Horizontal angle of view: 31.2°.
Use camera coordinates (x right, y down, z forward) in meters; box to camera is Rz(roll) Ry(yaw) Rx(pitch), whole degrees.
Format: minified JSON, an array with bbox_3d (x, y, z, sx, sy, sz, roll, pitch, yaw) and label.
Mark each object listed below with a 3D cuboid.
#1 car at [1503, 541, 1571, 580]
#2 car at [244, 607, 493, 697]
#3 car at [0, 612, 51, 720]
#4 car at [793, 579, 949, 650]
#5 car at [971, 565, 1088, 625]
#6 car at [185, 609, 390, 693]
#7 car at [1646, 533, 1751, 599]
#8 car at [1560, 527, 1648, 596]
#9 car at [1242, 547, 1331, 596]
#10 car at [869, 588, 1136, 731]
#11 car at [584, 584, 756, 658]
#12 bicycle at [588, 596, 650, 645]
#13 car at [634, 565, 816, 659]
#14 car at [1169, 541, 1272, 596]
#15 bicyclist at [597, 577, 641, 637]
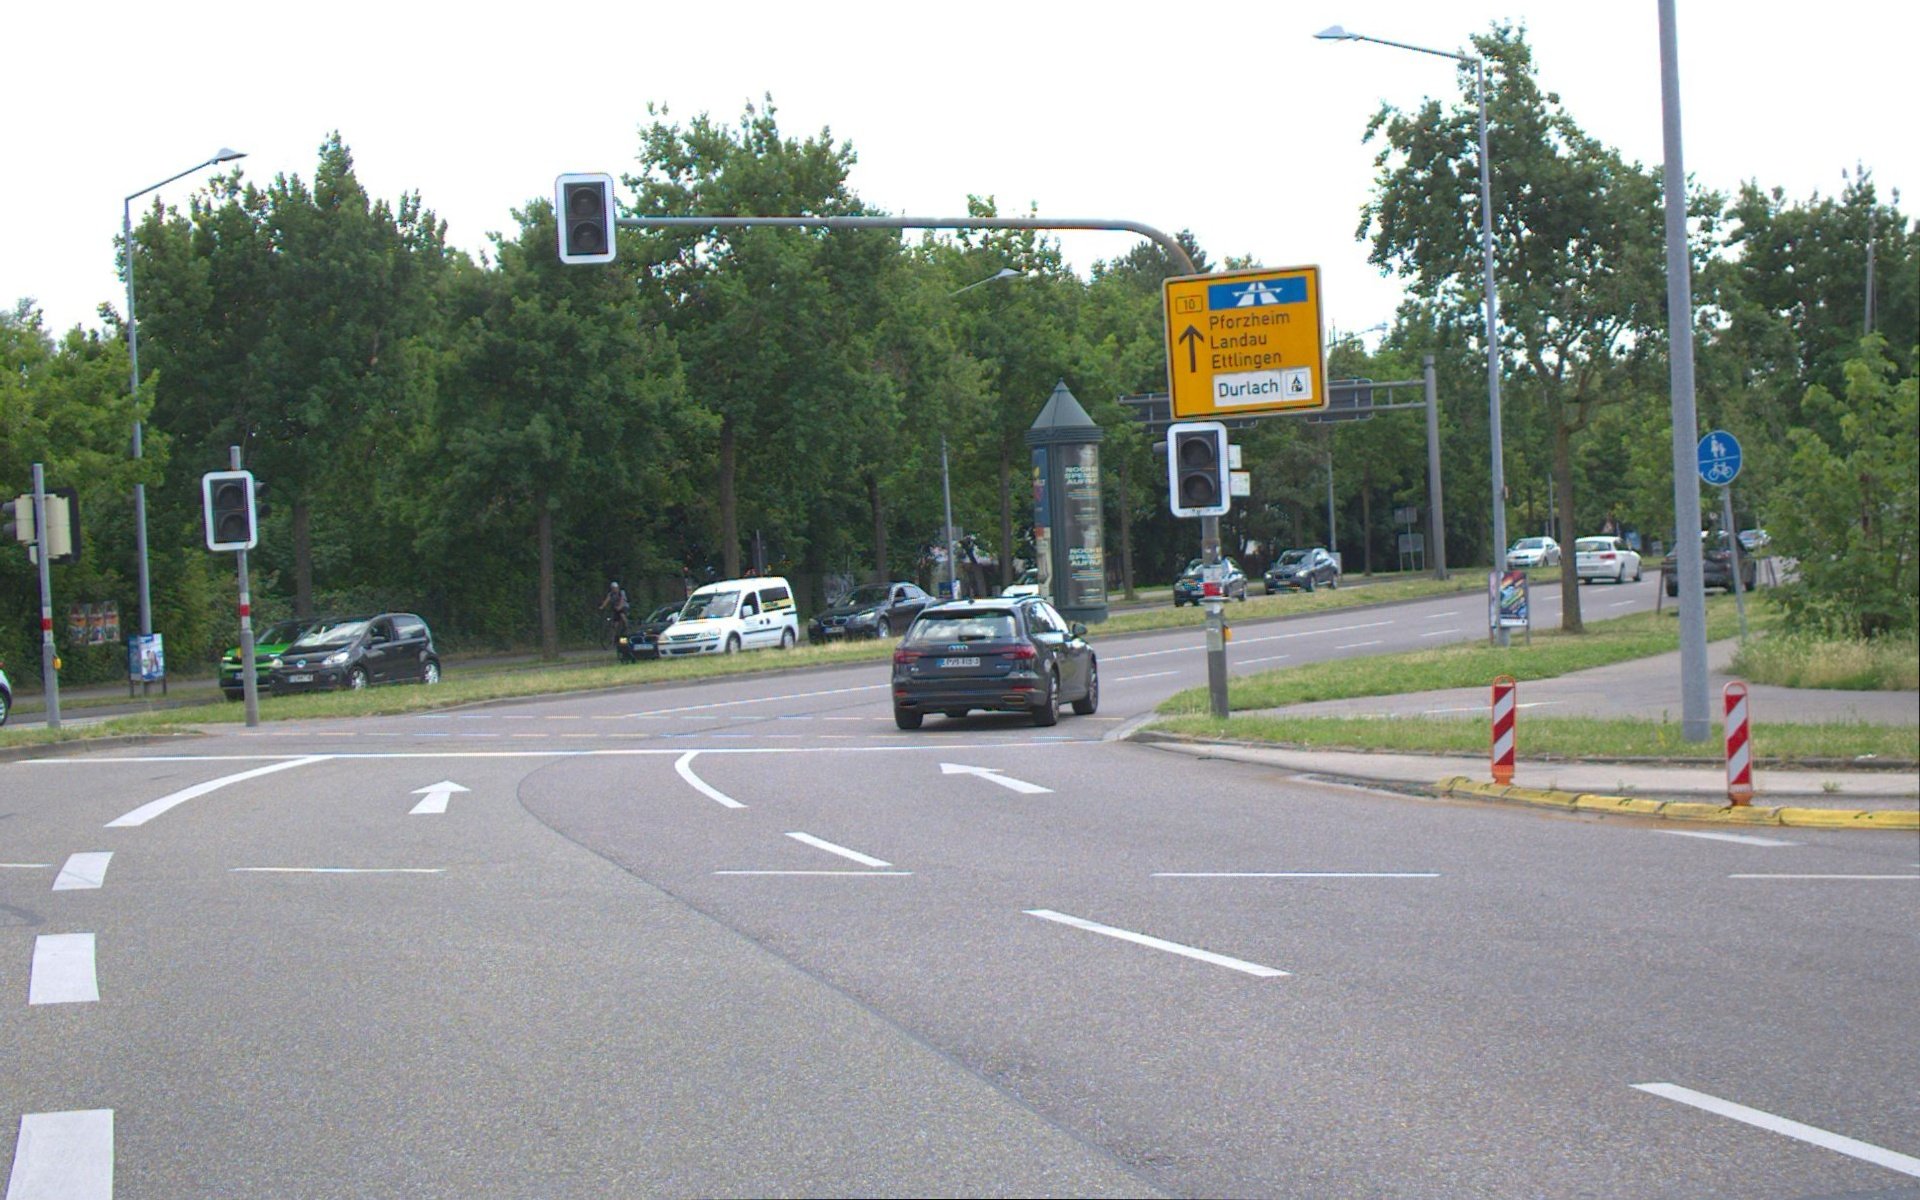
[{"bbox_3d":[23.873,-1.638,142.118,1.765,1.435,4.304,-3,0,23],"label":"car"},{"bbox_3d":[-10.373,0.898,60.638,1.840,1.306,4.781,-4,0,25],"label":"car"},{"bbox_3d":[-16.762,1.131,54.053,1.996,1.681,4.781,-2,1,28],"label":"car"},{"bbox_3d":[-2.080,0.325,81.991,1.840,1.475,4.748,-4,0,23],"label":"car"},{"bbox_3d":[2.062,-0.173,100.475,1.912,1.535,4.363,-3,0,22],"label":"car"},{"bbox_3d":[-12.576,0.939,64.529,1.617,1.343,4.166,-4,0,23],"label":"car"},{"bbox_3d":[19.644,-0.907,91.309,1.996,1.620,4.305,-2,1,22],"label":"car"},{"bbox_3d":[19.707,-1.188,105.111,1.995,2.007,3.996,-1,1,20],"label":"car"},{"bbox_3d":[11.872,-1.061,124.743,1.765,1.571,5.026,-3,0,22],"label":"car"},{"bbox_3d":[0.540,0.640,38.741,1.685,1.458,3.996,-1,1,21],"label":"car"},{"bbox_3d":[-6.646,0.465,79.270,1.840,1.438,4.413,-4,0,27],"label":"car"},{"bbox_3d":[-8.938,0.526,90.127,0.761,1.215,2.014,0,1,22],"label":"bicycle"},{"bbox_3d":[-5.024,0.239,74.272,1.840,1.793,4.782,-4,0,23],"label":"car"},{"bbox_3d":[8.307,-1.015,109.313,1.724,1.585,5.007,-3,0,22],"label":"car"},{"bbox_3d":[-8.936,0.175,90.095,0.831,1.559,0.882,0,1,22],"label":"bicyclist"}]
